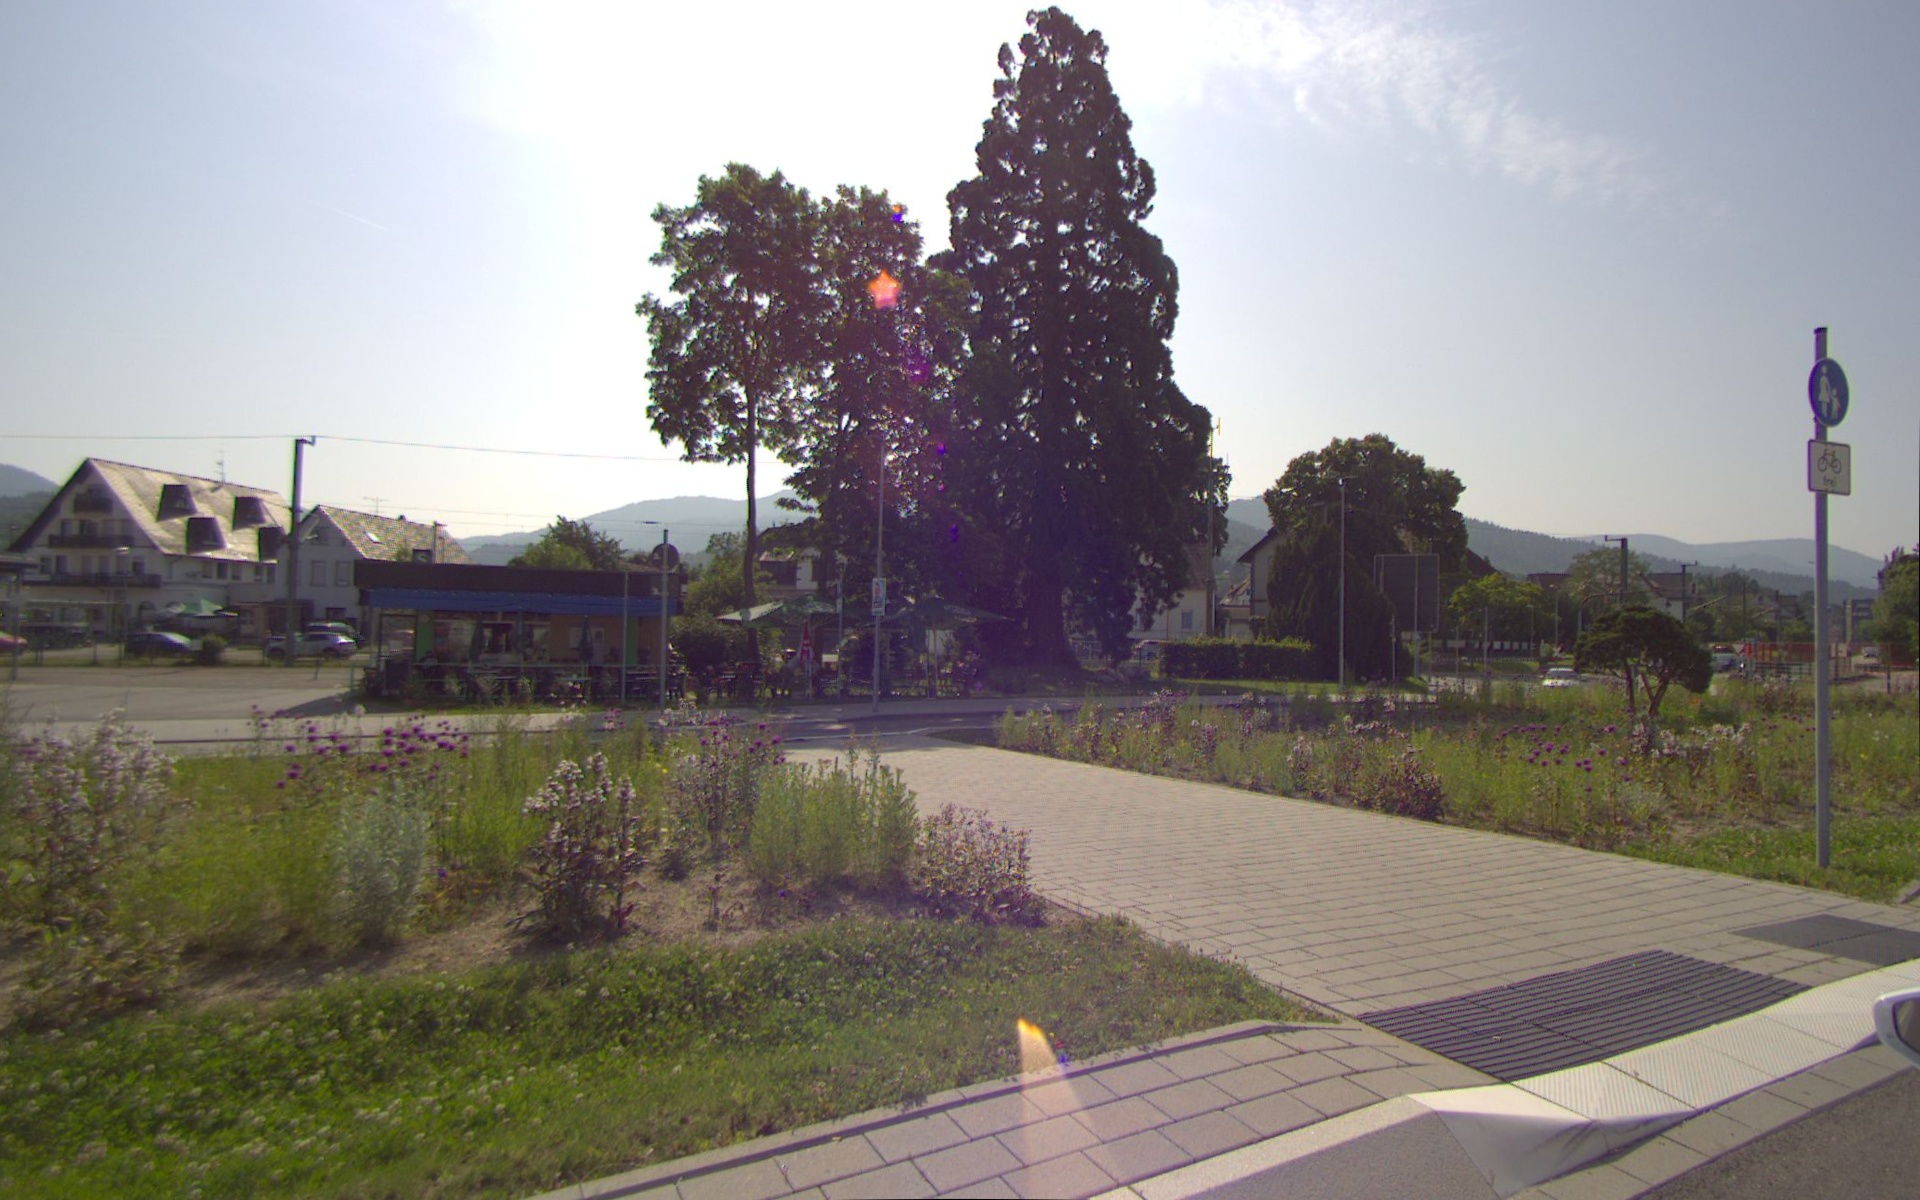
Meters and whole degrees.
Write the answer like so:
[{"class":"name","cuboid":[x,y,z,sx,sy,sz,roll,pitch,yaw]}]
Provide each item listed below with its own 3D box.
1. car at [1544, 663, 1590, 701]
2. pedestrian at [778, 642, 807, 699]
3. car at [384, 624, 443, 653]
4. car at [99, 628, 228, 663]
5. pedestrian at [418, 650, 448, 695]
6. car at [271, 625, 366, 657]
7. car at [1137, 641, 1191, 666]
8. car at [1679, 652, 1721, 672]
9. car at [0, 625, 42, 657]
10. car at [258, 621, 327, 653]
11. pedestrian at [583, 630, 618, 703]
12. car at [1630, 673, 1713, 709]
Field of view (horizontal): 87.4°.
[{"class":"car","cuboid":[27.270,3.641,45.102,1.647,1.551,3.991,-1,-3,33]},{"class":"pedestrian","cuboid":[-4.915,2.074,29.510,0.563,1.611,0.643,1,1,-39]},{"class":"car","cuboid":[-34.470,2.387,63.451,1.682,1.623,3.997,2,0,-4]},{"class":"car","cuboid":[-31.430,1.805,39.742,3.685,1.193,1.422,3,0,-21]},{"class":"pedestrian","cuboid":[-14.152,1.939,26.978,0.672,1.179,0.555,1,1,-27]},{"class":"car","cuboid":[-34.405,2.197,53.974,3.928,1.639,1.780,1,1,-10]},{"class":"car","cuboid":[14.755,3.868,72.770,3.580,1.514,1.607,3,0,-1]},{"class":"car","cuboid":[60.003,5.006,81.414,3.964,1.416,1.696,1,1,-38]},{"class":"car","cuboid":[-53.534,2.250,55.955,3.577,1.514,1.608,3,0,10]},{"class":"car","cuboid":[-41.612,2.280,62.746,1.803,1.750,3.997,2,0,-4]},{"class":"pedestrian","cuboid":[-10.512,1.930,29.364,0.703,2.040,0.849,1,1,-39]},{"class":"car","cuboid":[36.040,4.571,50.993,1.680,1.416,4.002,2,0,6]}]
